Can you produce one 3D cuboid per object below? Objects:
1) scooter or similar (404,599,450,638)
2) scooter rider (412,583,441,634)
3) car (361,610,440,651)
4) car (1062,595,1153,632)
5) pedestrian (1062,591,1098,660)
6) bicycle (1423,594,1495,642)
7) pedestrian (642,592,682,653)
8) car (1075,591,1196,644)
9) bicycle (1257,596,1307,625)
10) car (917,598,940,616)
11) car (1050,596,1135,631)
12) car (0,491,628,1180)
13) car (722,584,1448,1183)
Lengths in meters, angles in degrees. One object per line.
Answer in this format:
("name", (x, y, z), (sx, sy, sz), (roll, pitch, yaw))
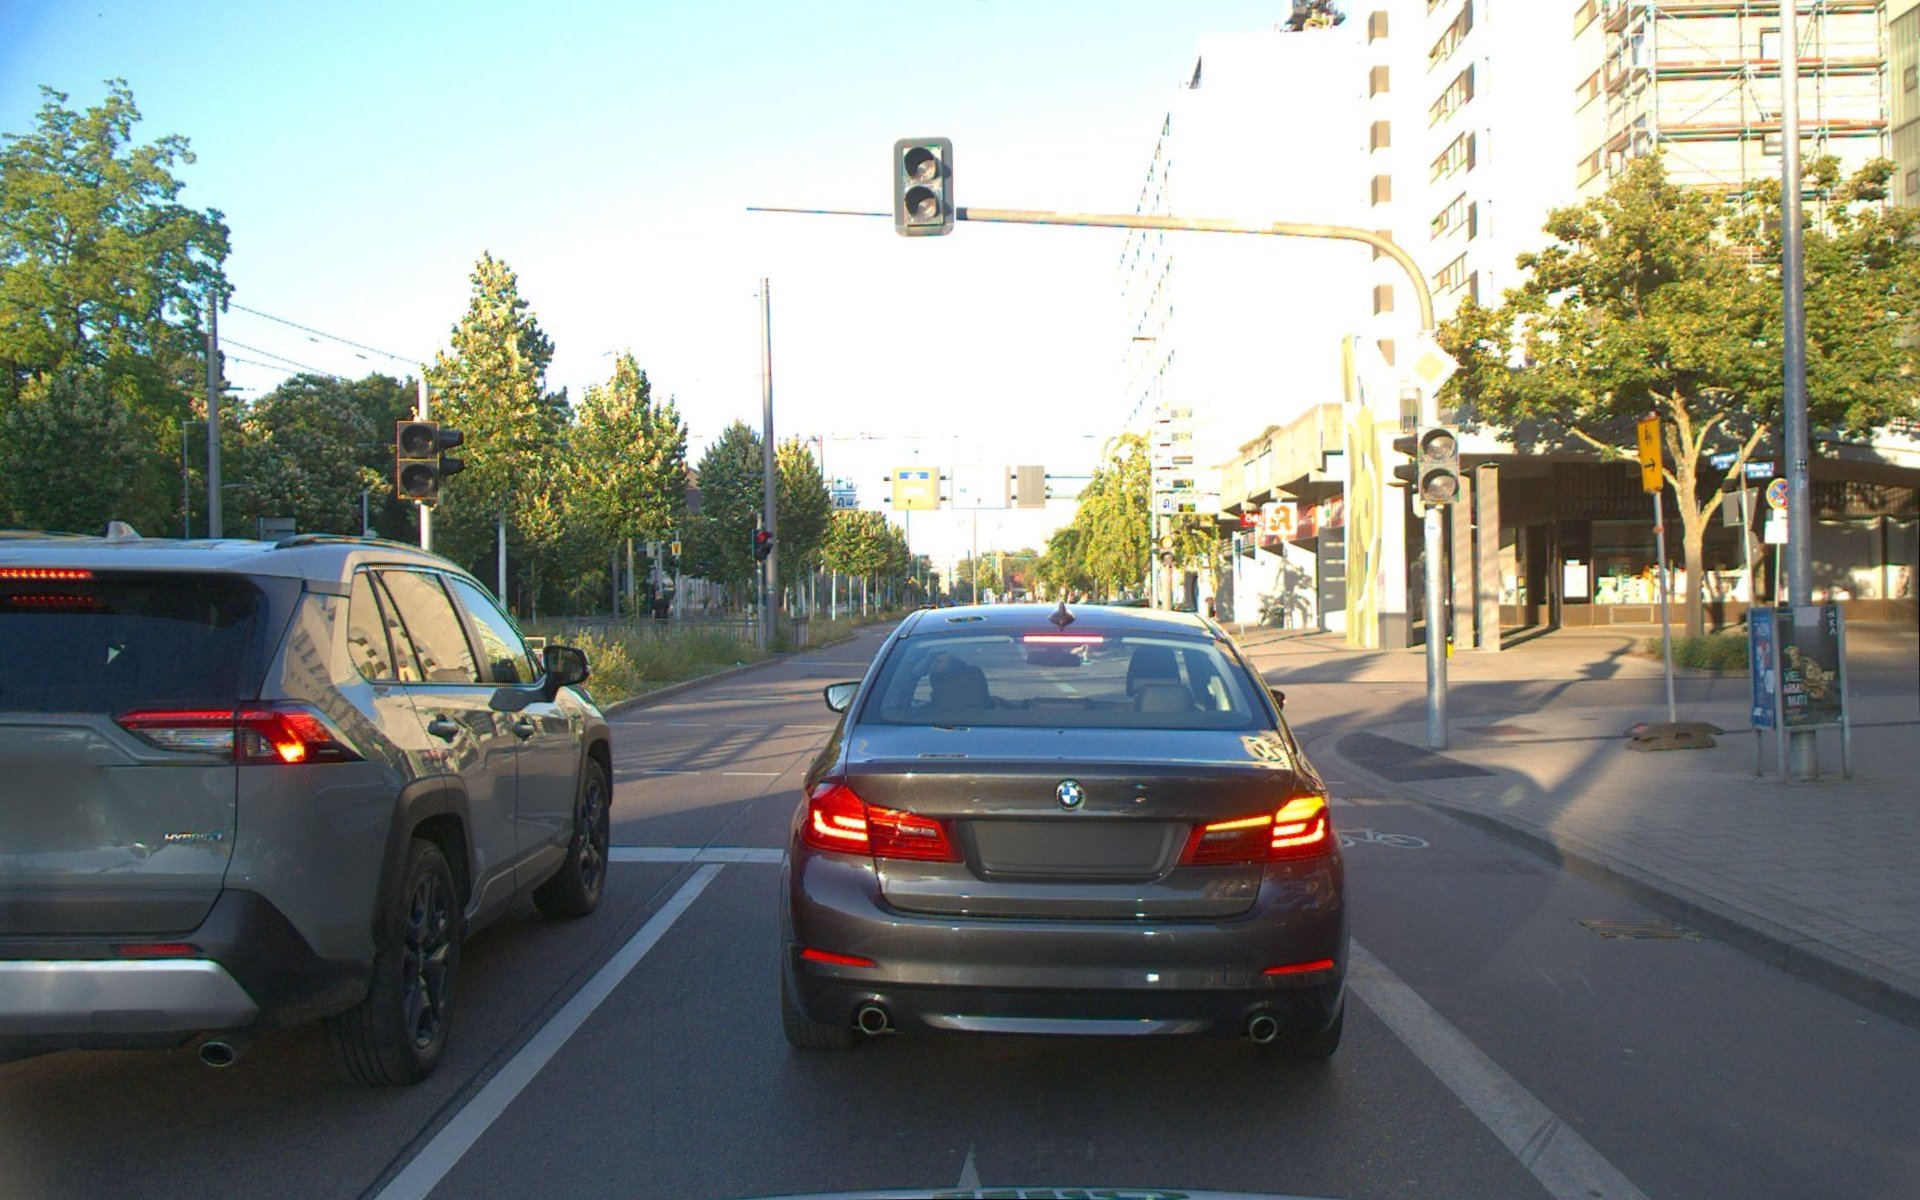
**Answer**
("scooter or similar", (-16.486, 0.571, 51.143), (1.308, 1.173, 0.511), (-1, 0, -17))
("scooter rider", (-16.494, 0.262, 51.178), (0.807, 1.540, 0.650), (-1, 0, -17))
("car", (-21.969, 1.162, 65.059), (1.763, 1.507, 3.783), (-1, 0, 0))
("car", (7.066, 0.634, 79.145), (4.221, 1.687, 1.837), (0, 1, -36))
("pedestrian", (3.092, 0.650, 42.679), (0.818, 1.742, 0.647), (-1, 0, -2))
("bicycle", (12.497, 0.449, 41.515), (0.678, 1.169, 2.012), (2, -1, -18))
("pedestrian", (-8.098, 0.601, 44.911), (0.817, 1.614, 0.813), (-1, 0, 10))
("car", (6.055, 0.566, 56.667), (4.234, 1.687, 1.831), (-1, 1, -43))
("bicycle", (13.458, 0.439, 69.156), (1.974, 1.169, 0.691), (2, -1, 6))
("car", (-2.773, 0.626, 146.886), (1.938, 1.458, 4.843), (0, 1, 0))
("car", (6.841, 0.663, 85.239), (4.219, 1.687, 1.838), (0, 1, -36))
("car", (-2.505, 0.532, 6.166), (1.817, 1.687, 4.267), (0, 1, -2))
("car", (0.360, 0.721, 6.591), (1.892, 1.507, 4.523), (0, 1, 1))
